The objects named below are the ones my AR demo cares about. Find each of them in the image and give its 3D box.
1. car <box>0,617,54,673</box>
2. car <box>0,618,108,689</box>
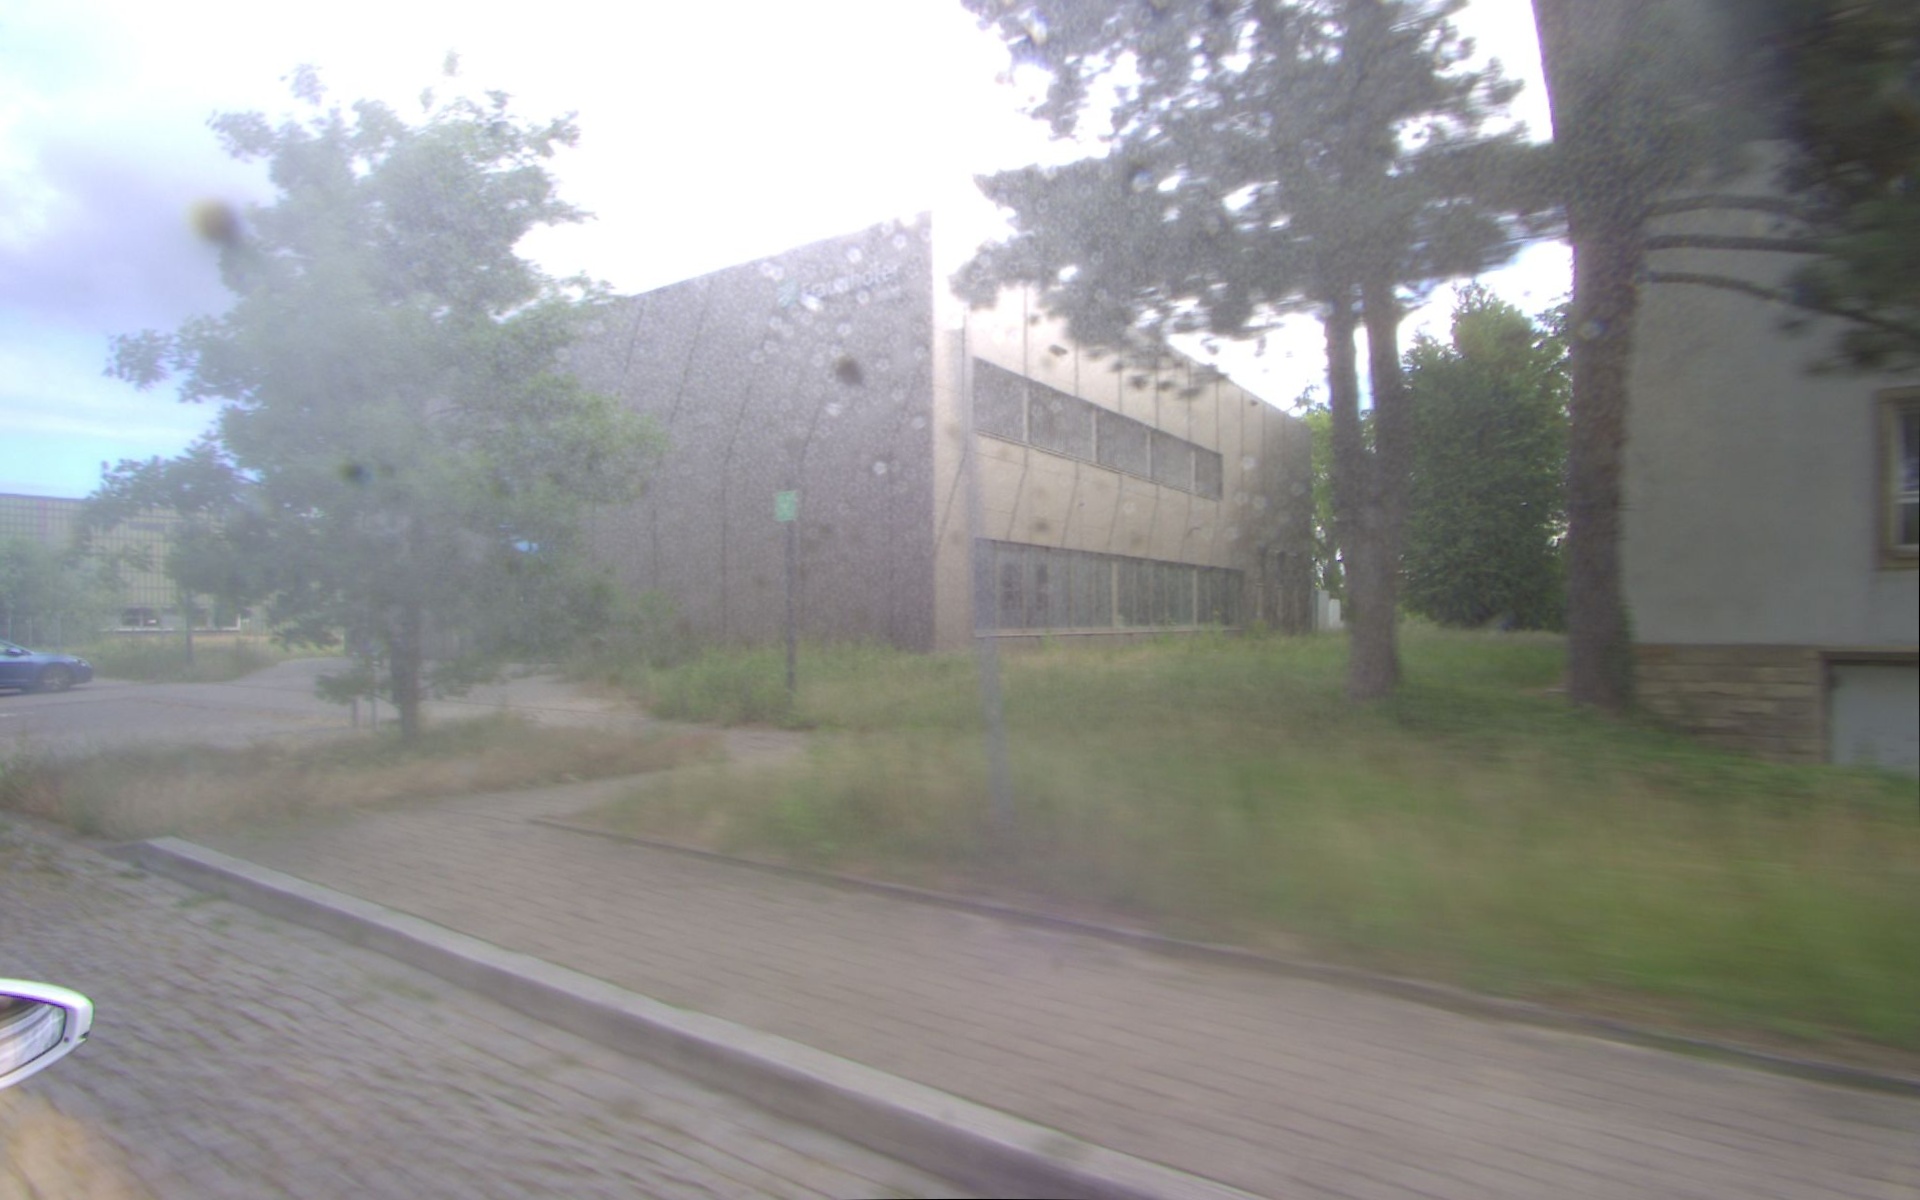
[{"bbox_3d":[-28.098,1.277,27.467,1.973,1.552,4.504,0,0,35],"label":"car"},{"bbox_3d":[-22.534,1.227,22.713,1.971,1.552,4.509,0,0,31],"label":"car"}]
